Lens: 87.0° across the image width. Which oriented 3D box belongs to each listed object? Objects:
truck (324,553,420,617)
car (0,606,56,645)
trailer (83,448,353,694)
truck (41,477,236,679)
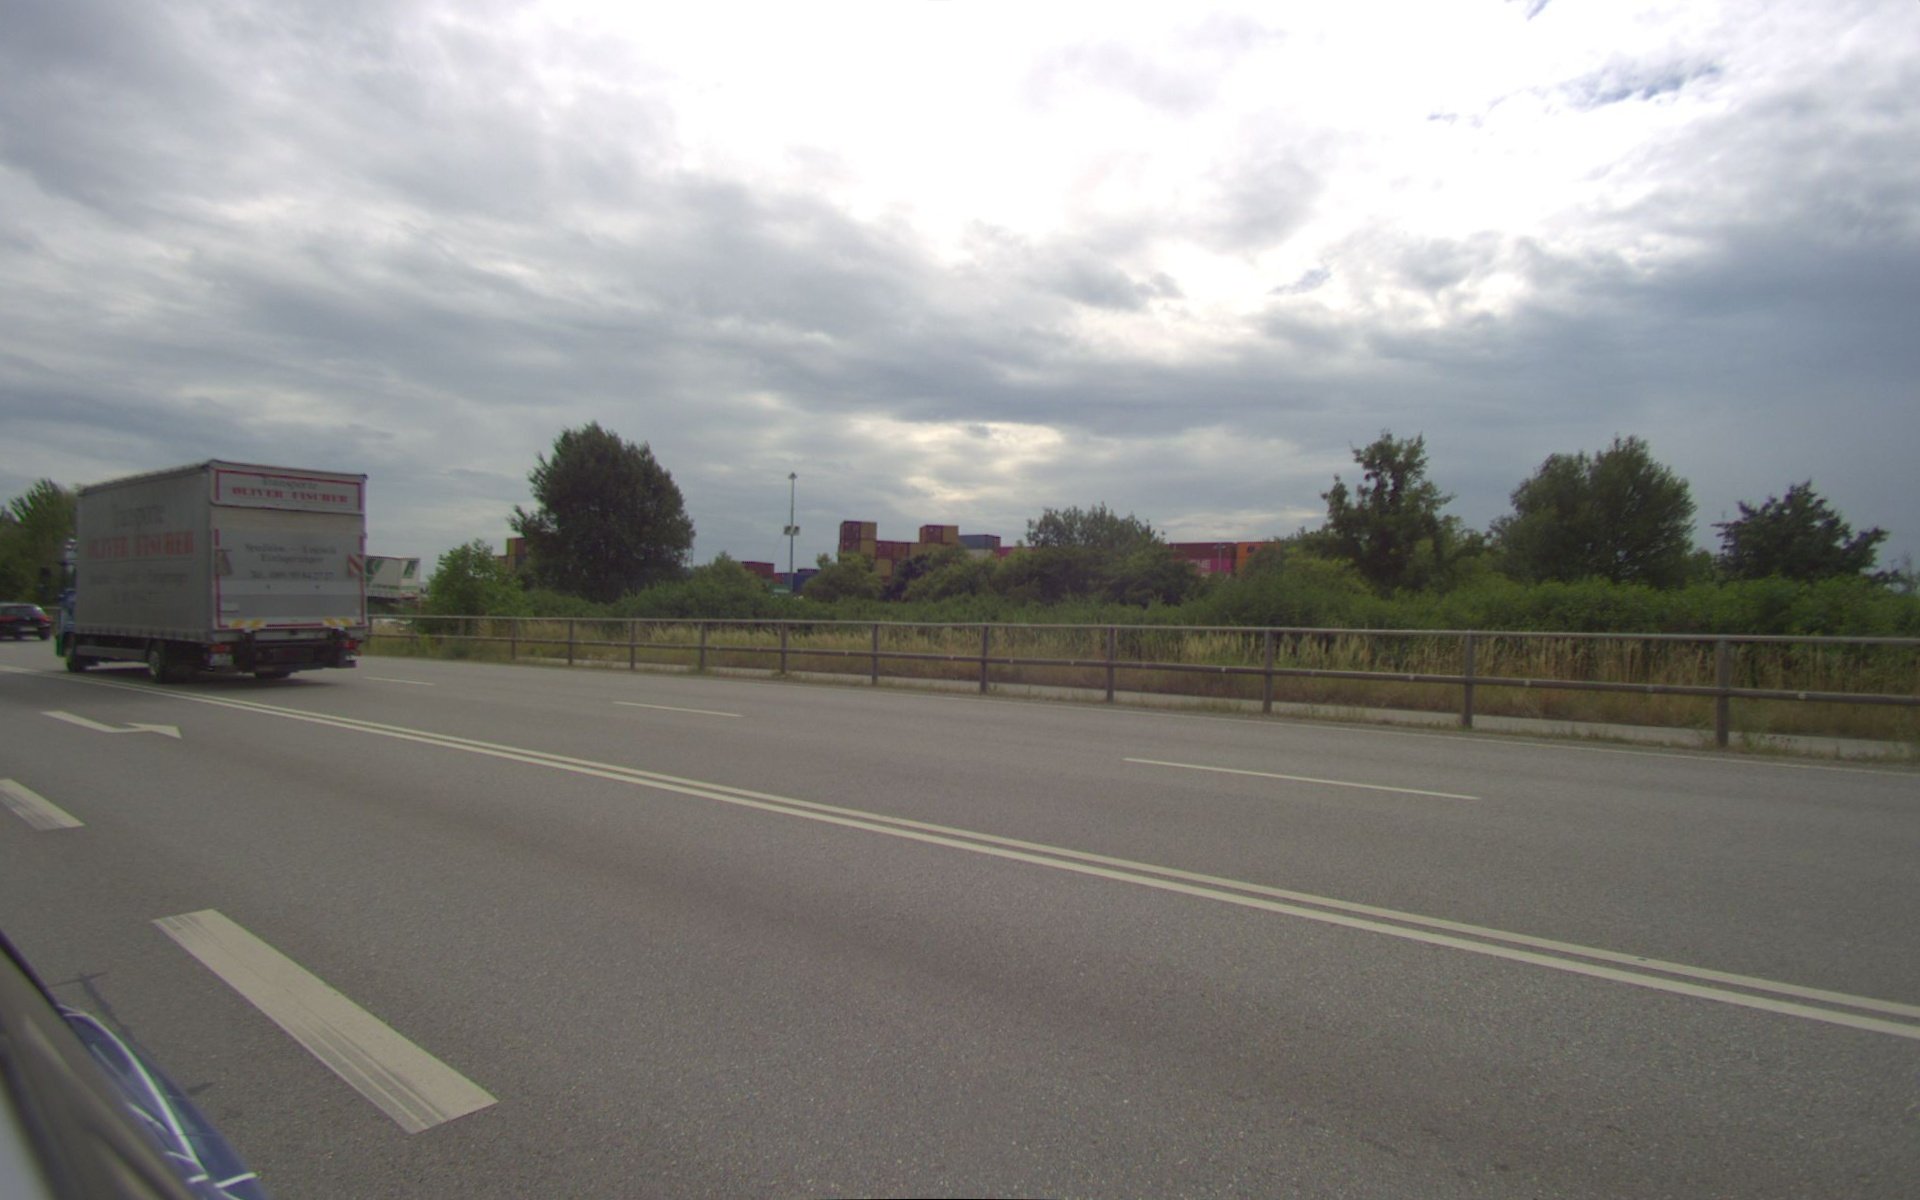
[{"bbox_3d":[-46.997,-1.197,80.989,6.108,5.034,2.802,0,0,3],"label":"truck"},{"bbox_3d":[-36.906,0.945,39.007,3.984,1.452,1.932,0,-1,30],"label":"car"},{"bbox_3d":[-14.846,-0.456,20.067,6.724,4.132,2.504,-1,-1,37],"label":"trailer"},{"bbox_3d":[-18.604,-0.430,22.904,3.993,4.127,2.516,-1,-1,37],"label":"truck"}]
